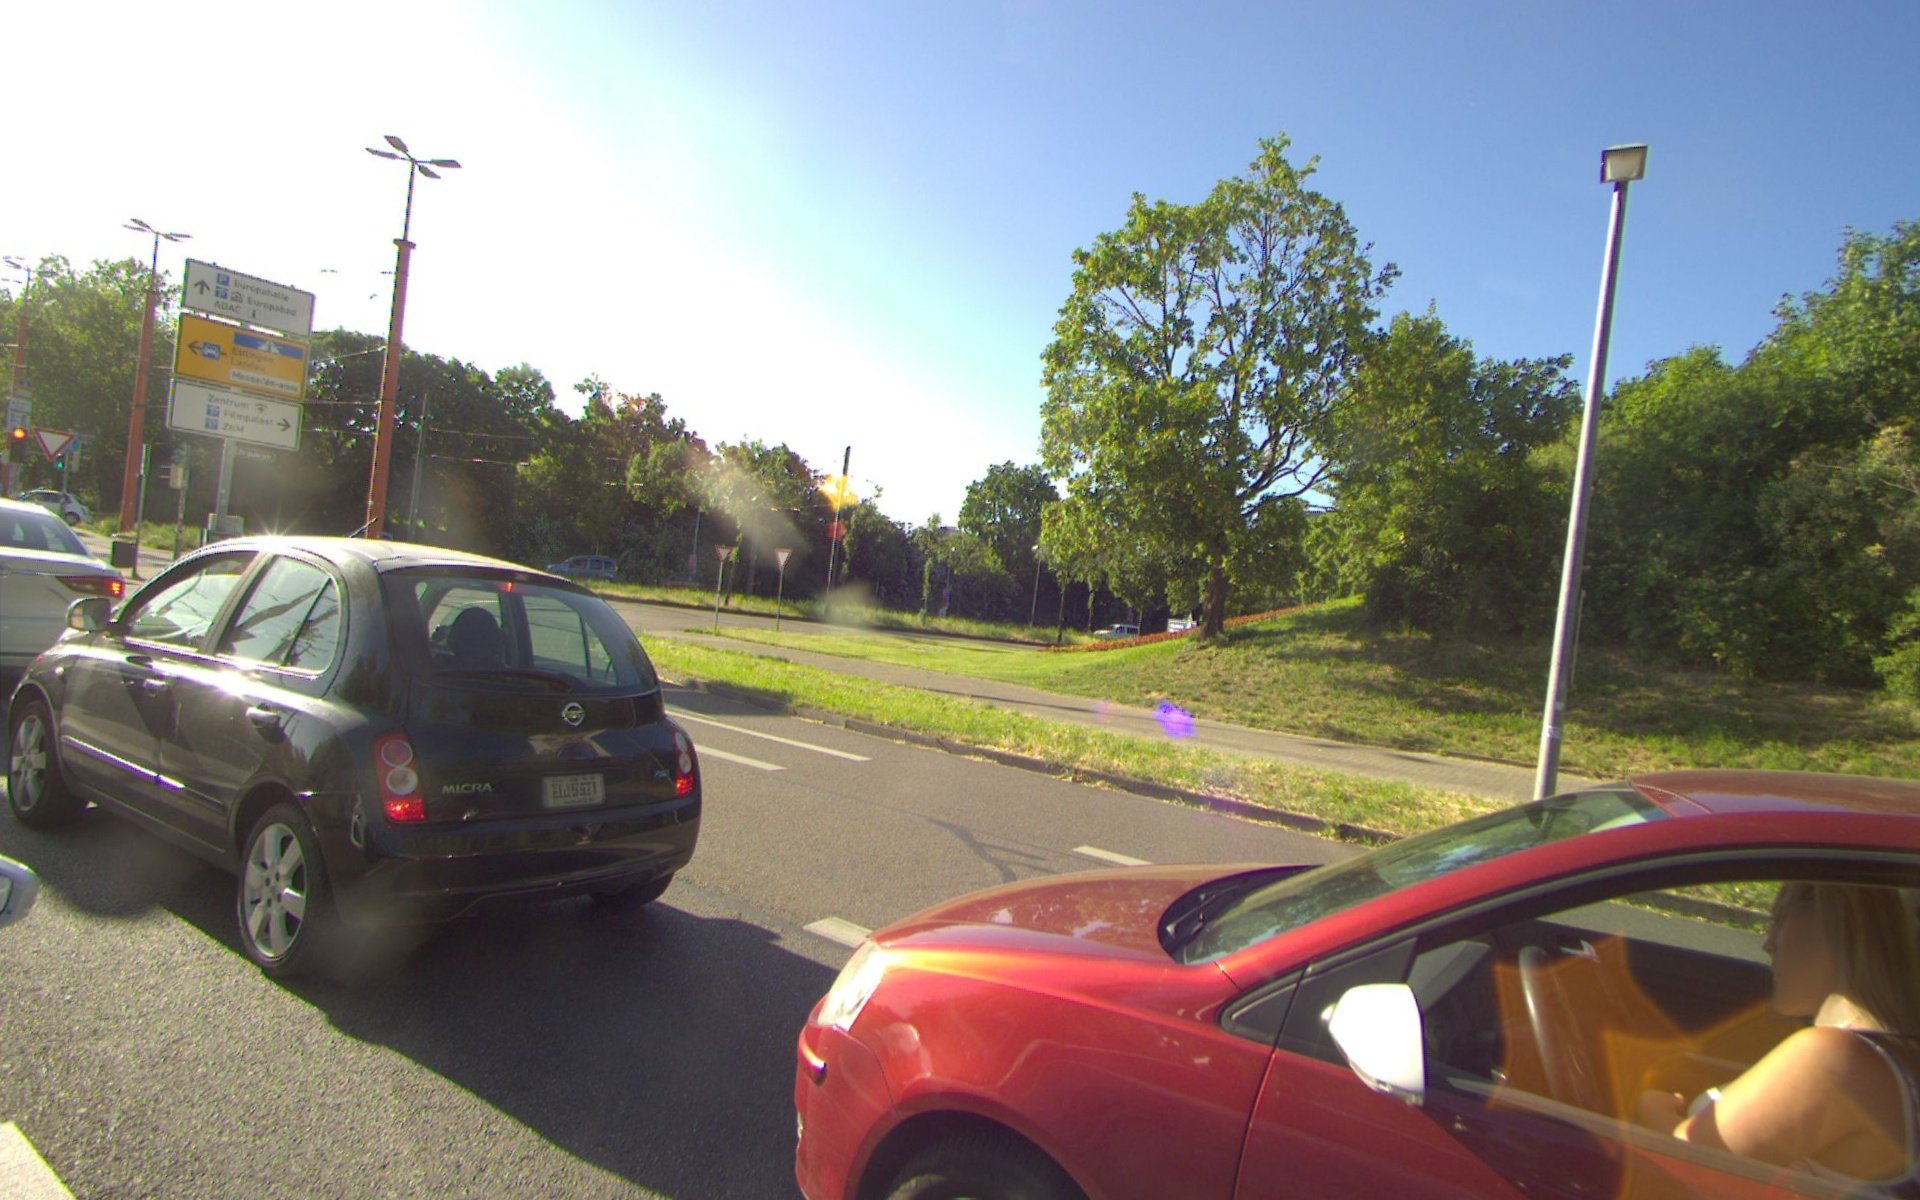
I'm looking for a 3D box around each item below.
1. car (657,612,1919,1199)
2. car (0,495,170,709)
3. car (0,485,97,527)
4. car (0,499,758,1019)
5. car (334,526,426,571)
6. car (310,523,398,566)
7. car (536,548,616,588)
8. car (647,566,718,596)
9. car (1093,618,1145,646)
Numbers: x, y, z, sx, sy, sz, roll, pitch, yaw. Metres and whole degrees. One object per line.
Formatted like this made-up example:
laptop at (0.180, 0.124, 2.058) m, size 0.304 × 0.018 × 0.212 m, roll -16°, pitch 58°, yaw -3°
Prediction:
car at (1.344, 1.002, 1.864) m, size 3.629 × 1.477 × 1.579 m, roll 6°, pitch -2°, yaw 32°
car at (-8.371, -0.175, 8.074) m, size 4.256 × 1.457 × 1.802 m, roll 6°, pitch -2°, yaw 33°
car at (-43.386, -4.460, 47.189) m, size 4.090 × 1.419 × 1.643 m, roll 8°, pitch -1°, yaw -31°
car at (-2.799, 0.467, 4.620) m, size 3.385 × 1.457 × 1.579 m, roll 6°, pitch -2°, yaw 32°
car at (-31.405, -2.754, 54.573) m, size 4.088 × 1.812 × 1.785 m, roll 8°, pitch -1°, yaw -29°
car at (-34.475, -3.127, 57.278) m, size 4.092 × 1.812 × 1.783 m, roll 8°, pitch -1°, yaw -33°
car at (-22.811, -1.889, 59.832) m, size 4.087 × 1.812 × 1.786 m, roll 8°, pitch -1°, yaw -29°
car at (-18.381, -1.237, 66.682) m, size 4.093 × 1.419 × 1.642 m, roll 8°, pitch -1°, yaw -33°
car at (13.458, 2.709, 85.054) m, size 4.093 × 1.771 × 1.642 m, roll 8°, pitch -1°, yaw -33°
